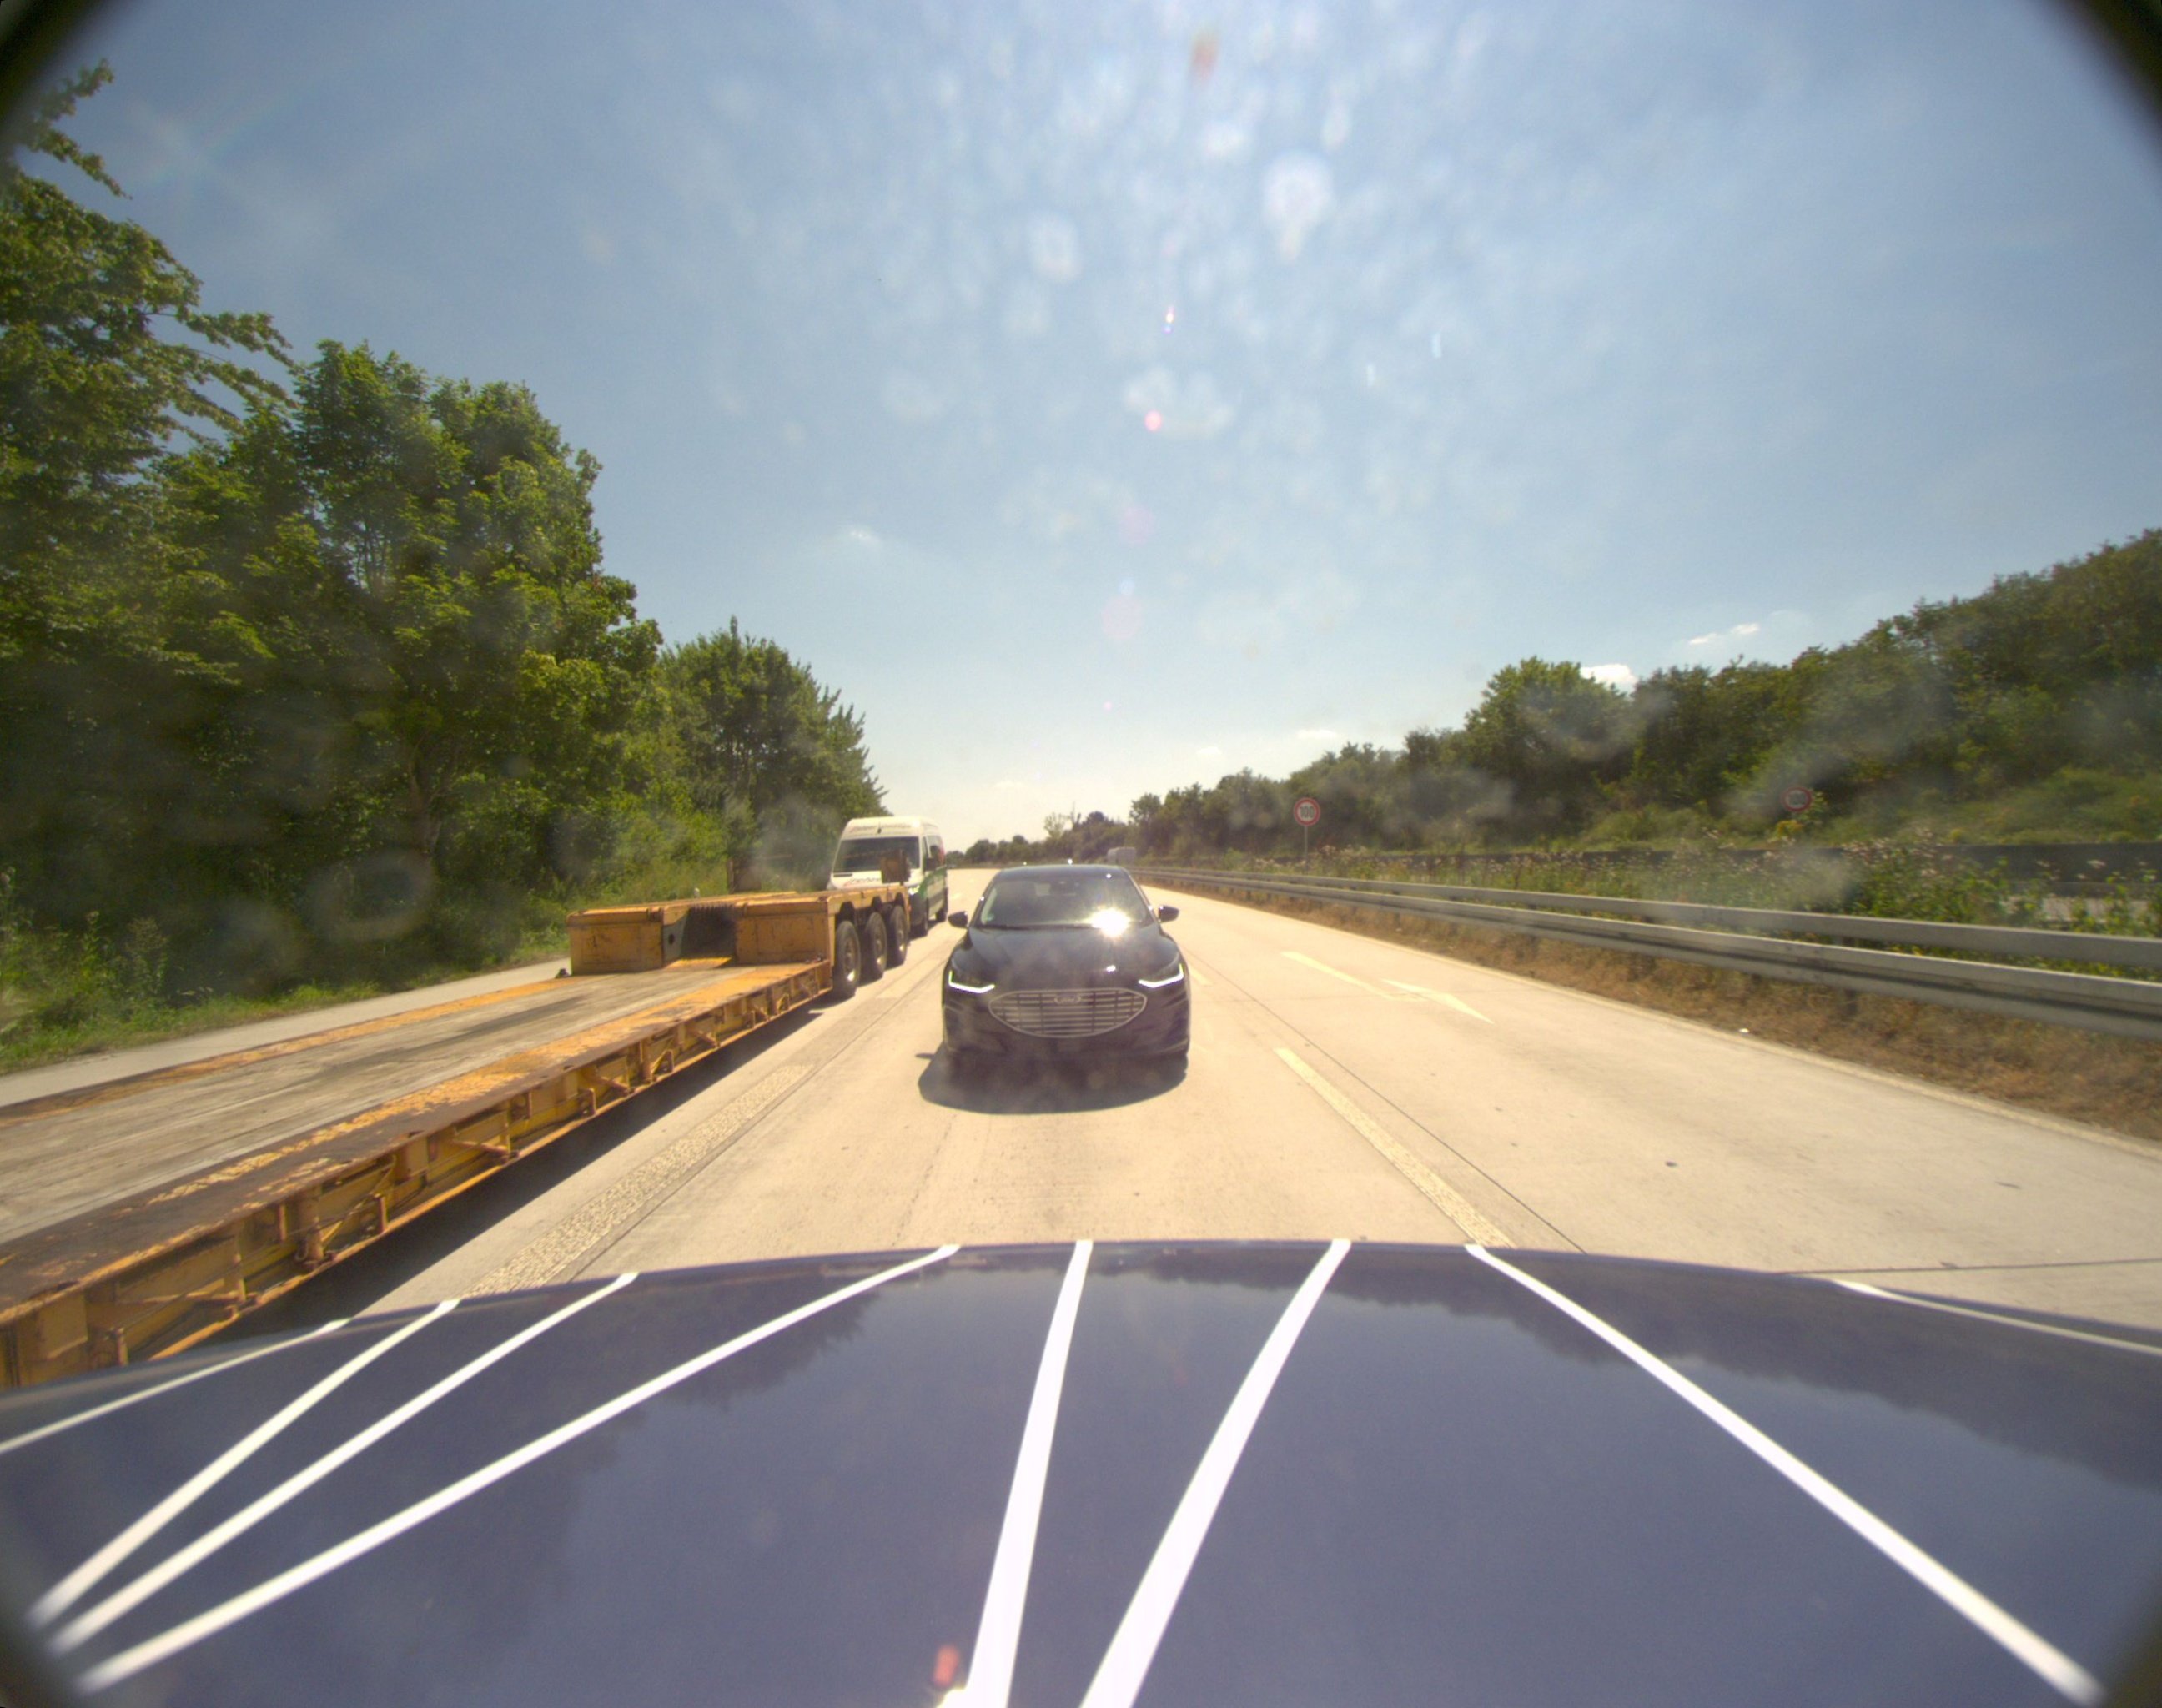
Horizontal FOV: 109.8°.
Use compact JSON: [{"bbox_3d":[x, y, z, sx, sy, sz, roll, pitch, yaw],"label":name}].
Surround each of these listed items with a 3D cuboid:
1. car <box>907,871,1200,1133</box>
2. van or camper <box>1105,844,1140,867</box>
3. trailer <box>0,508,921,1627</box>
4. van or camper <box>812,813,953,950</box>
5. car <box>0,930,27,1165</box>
[{"bbox_3d":[-0.139,0.955,6.776,1.731,1.430,4.304,-2,0,1],"label":"car"},{"bbox_3d":[3.940,0.127,73.675,2.179,2.002,5.634,-2,1,-9],"label":"van or camper"},{"bbox_3d":[-4.039,0.526,3.812,3.035,2.578,16.355,-2,0,0],"label":"trailer"},{"bbox_3d":[-4.309,0.505,17.563,2.069,2.559,5.905,-2,1,-5],"label":"van or camper"},{"bbox_3d":[-7.583,1.256,2.512,1.772,1.453,4.597,-2,0,-1],"label":"car"}]
